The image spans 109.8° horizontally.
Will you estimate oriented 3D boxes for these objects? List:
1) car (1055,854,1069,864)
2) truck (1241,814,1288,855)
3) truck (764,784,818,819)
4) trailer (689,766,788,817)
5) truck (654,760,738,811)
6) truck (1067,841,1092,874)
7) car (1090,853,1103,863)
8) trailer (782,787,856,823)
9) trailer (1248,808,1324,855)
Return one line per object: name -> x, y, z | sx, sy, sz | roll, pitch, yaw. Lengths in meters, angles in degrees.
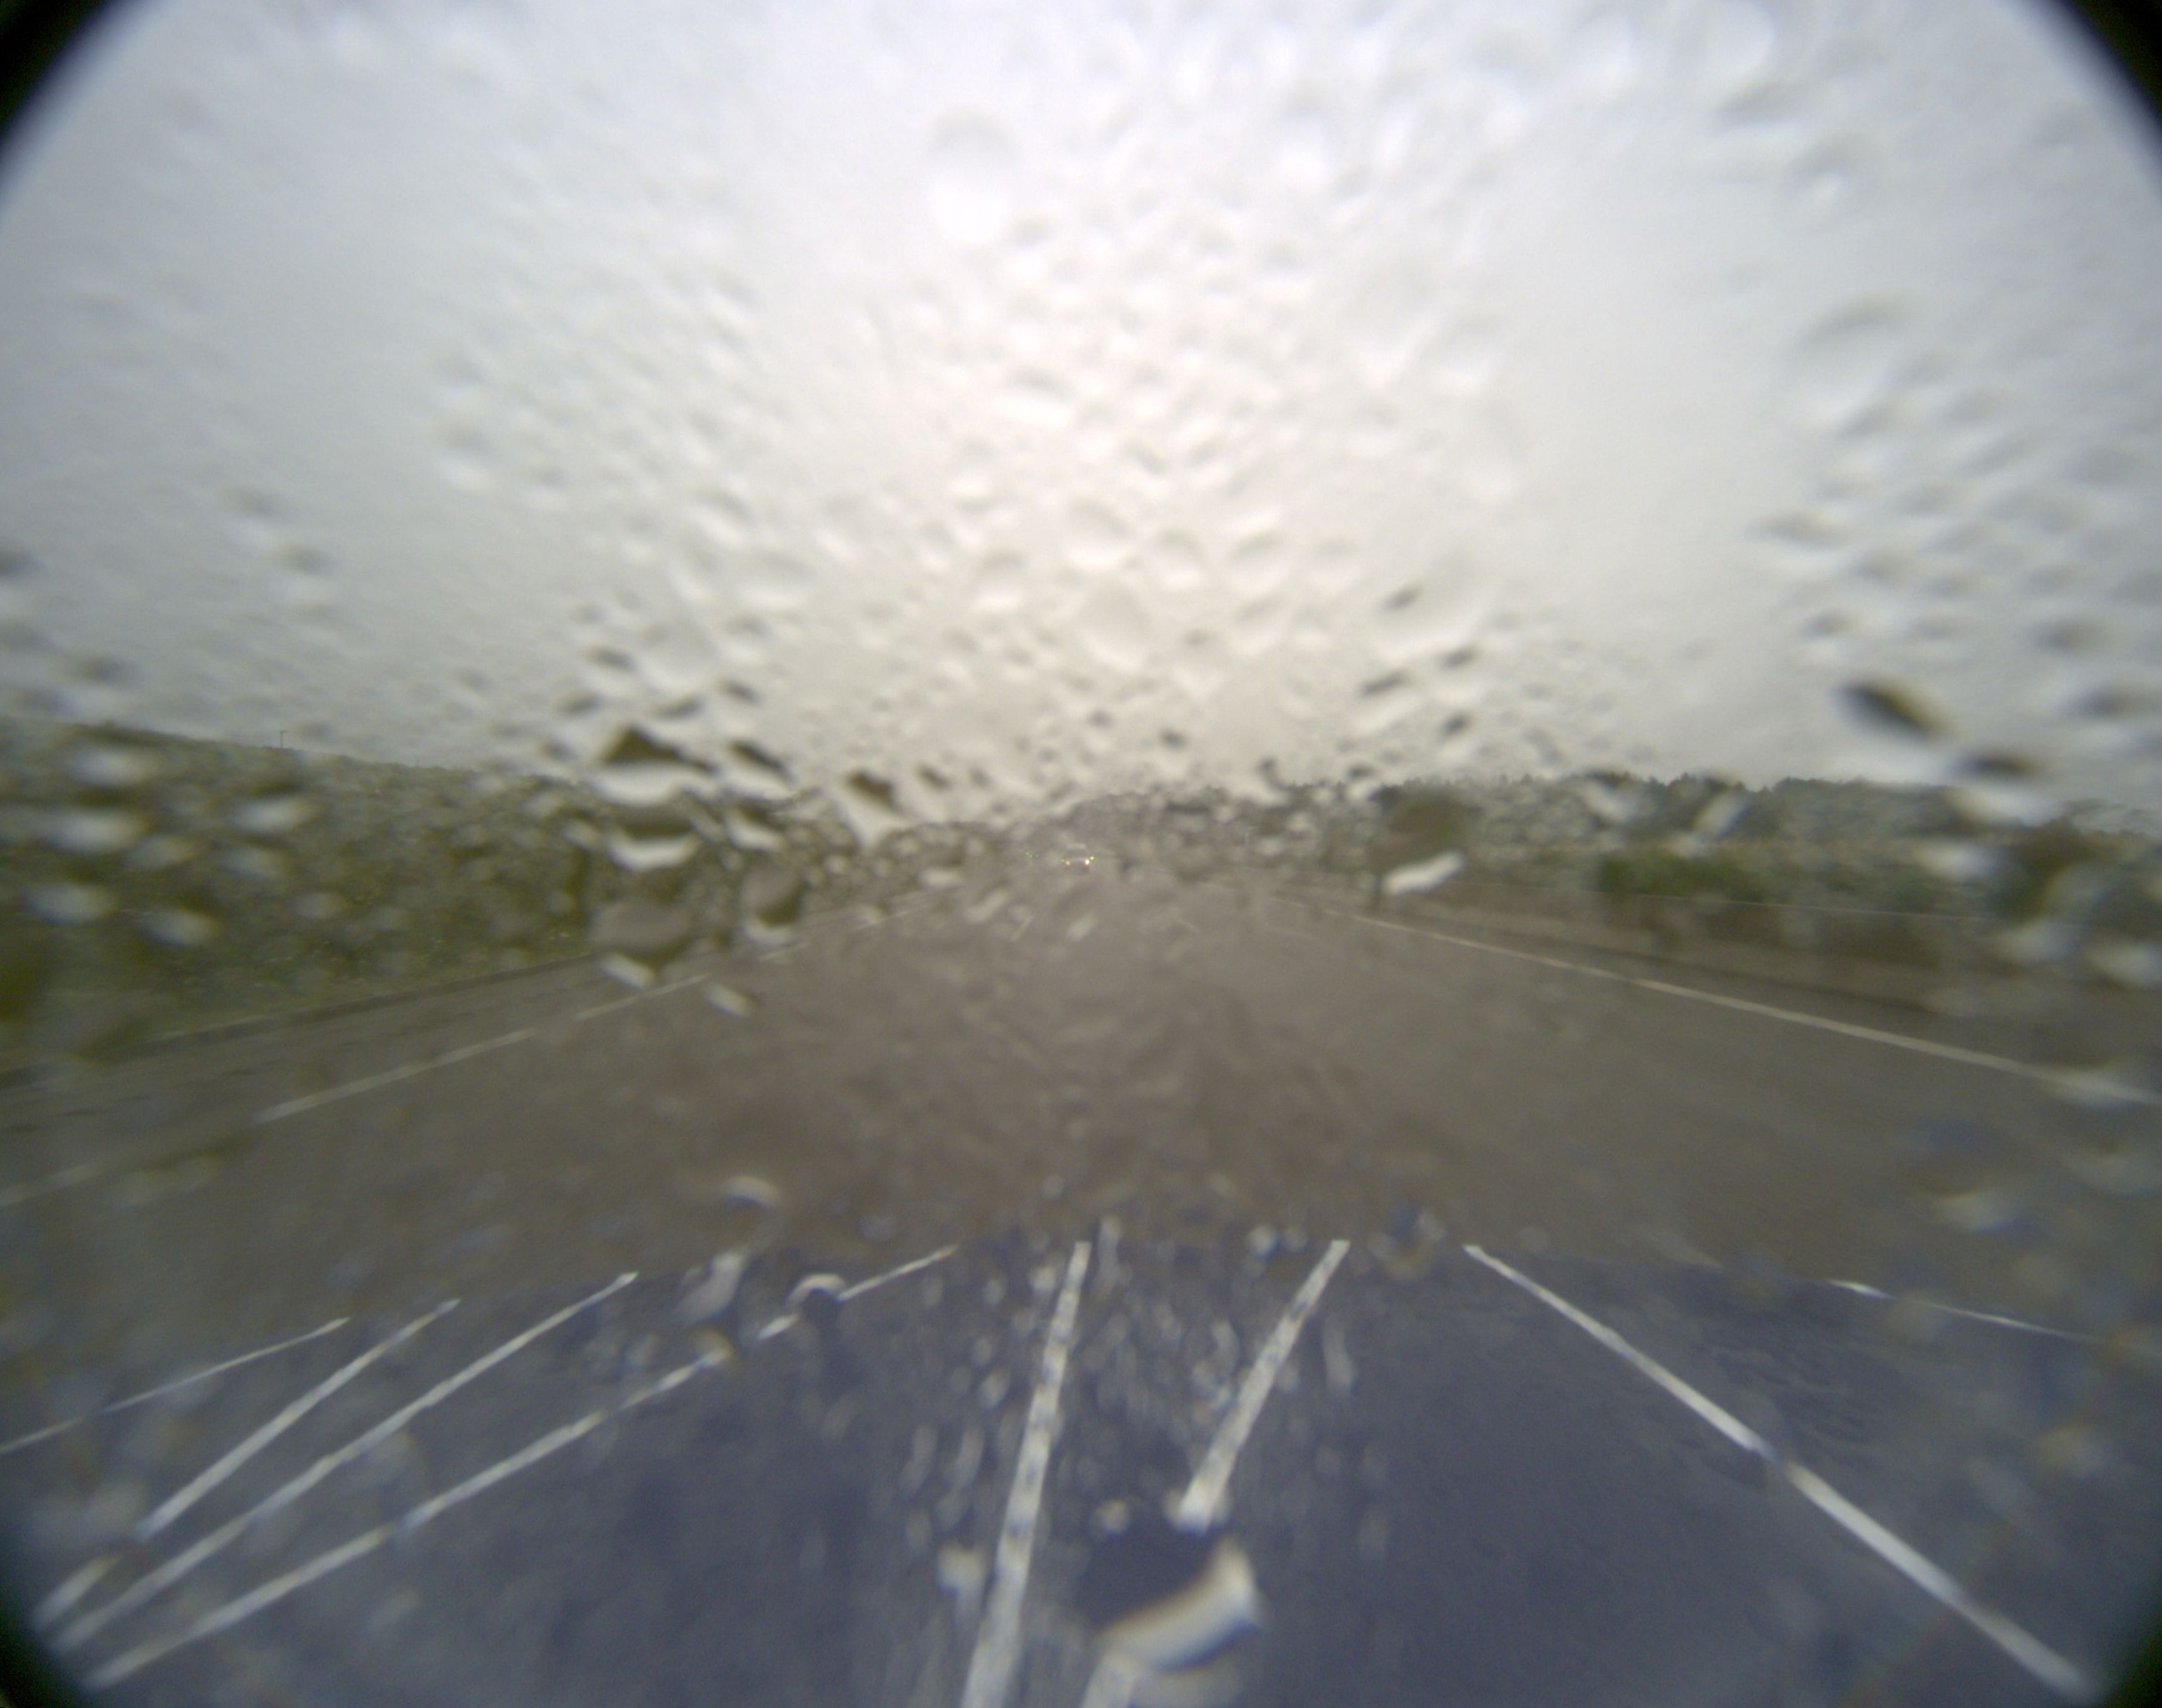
car -> -2.877, 0.807, 117.115 | 1.999, 1.521, 4.000 | -1, 0, 0
truck -> 19.158, -1.985, 79.798 | 3.335, 4.003, 5.973 | -2, 1, -1
truck -> -23.617, -4.238, 62.122 | 2.430, 2.553, 5.079 | -2, 1, 0
trailer -> -23.005, -4.080, 51.724 | 2.302, 2.740, 9.404 | -2, 1, 1
truck -> -23.040, -4.053, 45.763 | 2.371, 2.589, 5.061 | -2, 1, 0
truck -> -0.229, 0.232, 67.305 | 1.999, 2.699, 7.998 | -2, 1, -1
car -> 2.584, 0.730, 128.511 | 1.999, 1.608, 3.999 | -1, 0, -2
trailer -> -23.696, -4.318, 69.680 | 2.388, 2.589, 12.961 | -2, 1, -1
trailer -> 19.233, -1.980, 72.692 | 3.394, 3.995, 13.887 | -2, 0, 0
